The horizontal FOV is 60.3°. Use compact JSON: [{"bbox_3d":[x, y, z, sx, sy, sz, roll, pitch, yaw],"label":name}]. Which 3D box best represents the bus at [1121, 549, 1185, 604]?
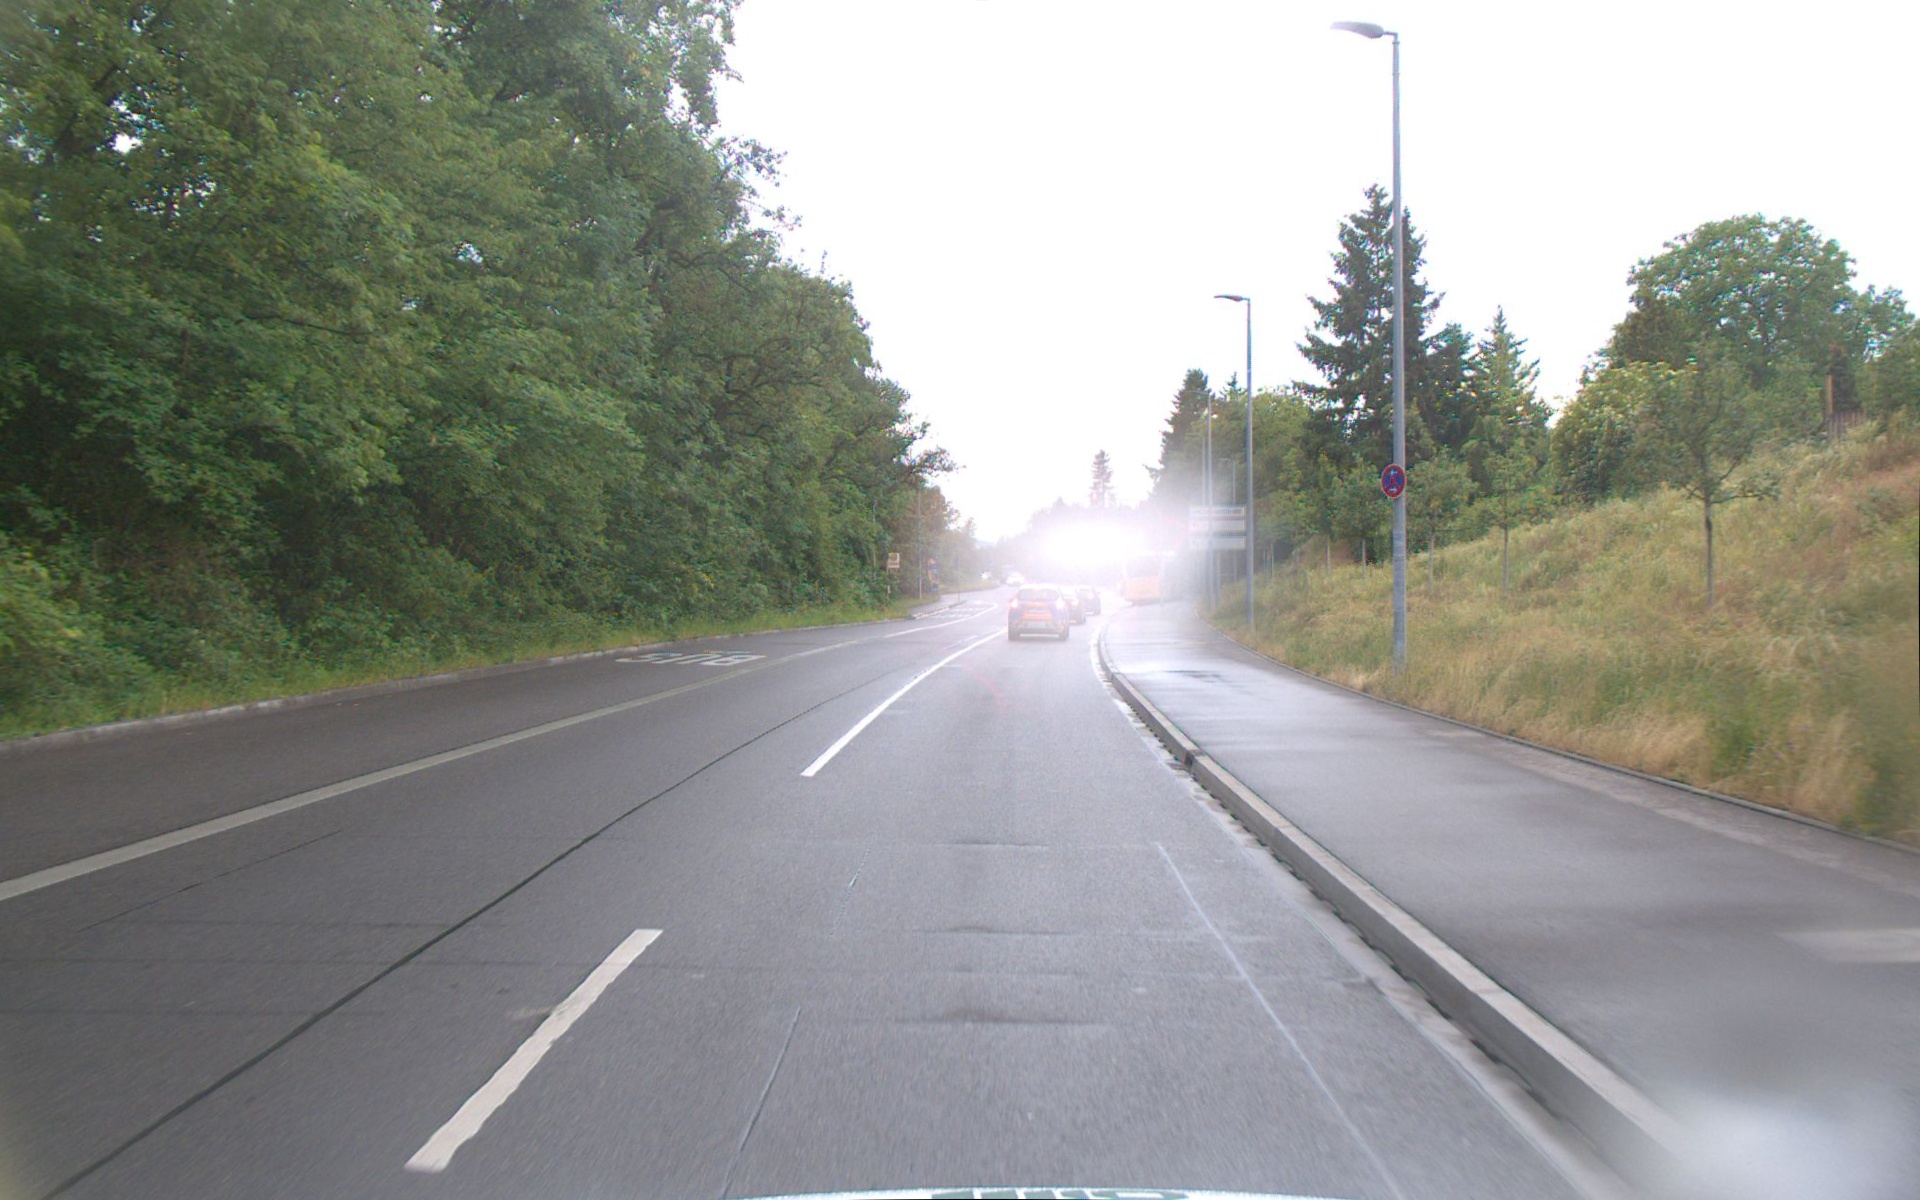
[{"bbox_3d":[11.953,-1.388,101.762,2.757,3.197,9.187,0,0,14],"label":"bus"}]

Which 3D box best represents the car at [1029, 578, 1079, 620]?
[{"bbox_3d":[3.733,-0.077,65.882,1.887,1.512,3.802,-1,2,3],"label":"car"}]

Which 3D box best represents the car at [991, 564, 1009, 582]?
[{"bbox_3d":[5.537,-3.700,229.729,2.223,2.376,5.587,0,0,-1],"label":"car"}]

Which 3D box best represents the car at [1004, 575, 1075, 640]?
[{"bbox_3d":[2.335,0.195,48.465,1.952,1.718,4.002,-1,2,3],"label":"car"}]

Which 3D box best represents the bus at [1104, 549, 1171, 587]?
[{"bbox_3d":[13.910,-2.476,130.524,2.764,2.855,10.621,0,0,-8],"label":"bus"}]

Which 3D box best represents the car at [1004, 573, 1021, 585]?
[{"bbox_3d":[6.409,-2.603,202.546,1.953,1.445,3.999,0,0,-1],"label":"car"}]

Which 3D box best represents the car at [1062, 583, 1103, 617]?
[{"bbox_3d":[5.936,0.003,80.404,1.952,1.579,4.002,0,0,4],"label":"car"}]
